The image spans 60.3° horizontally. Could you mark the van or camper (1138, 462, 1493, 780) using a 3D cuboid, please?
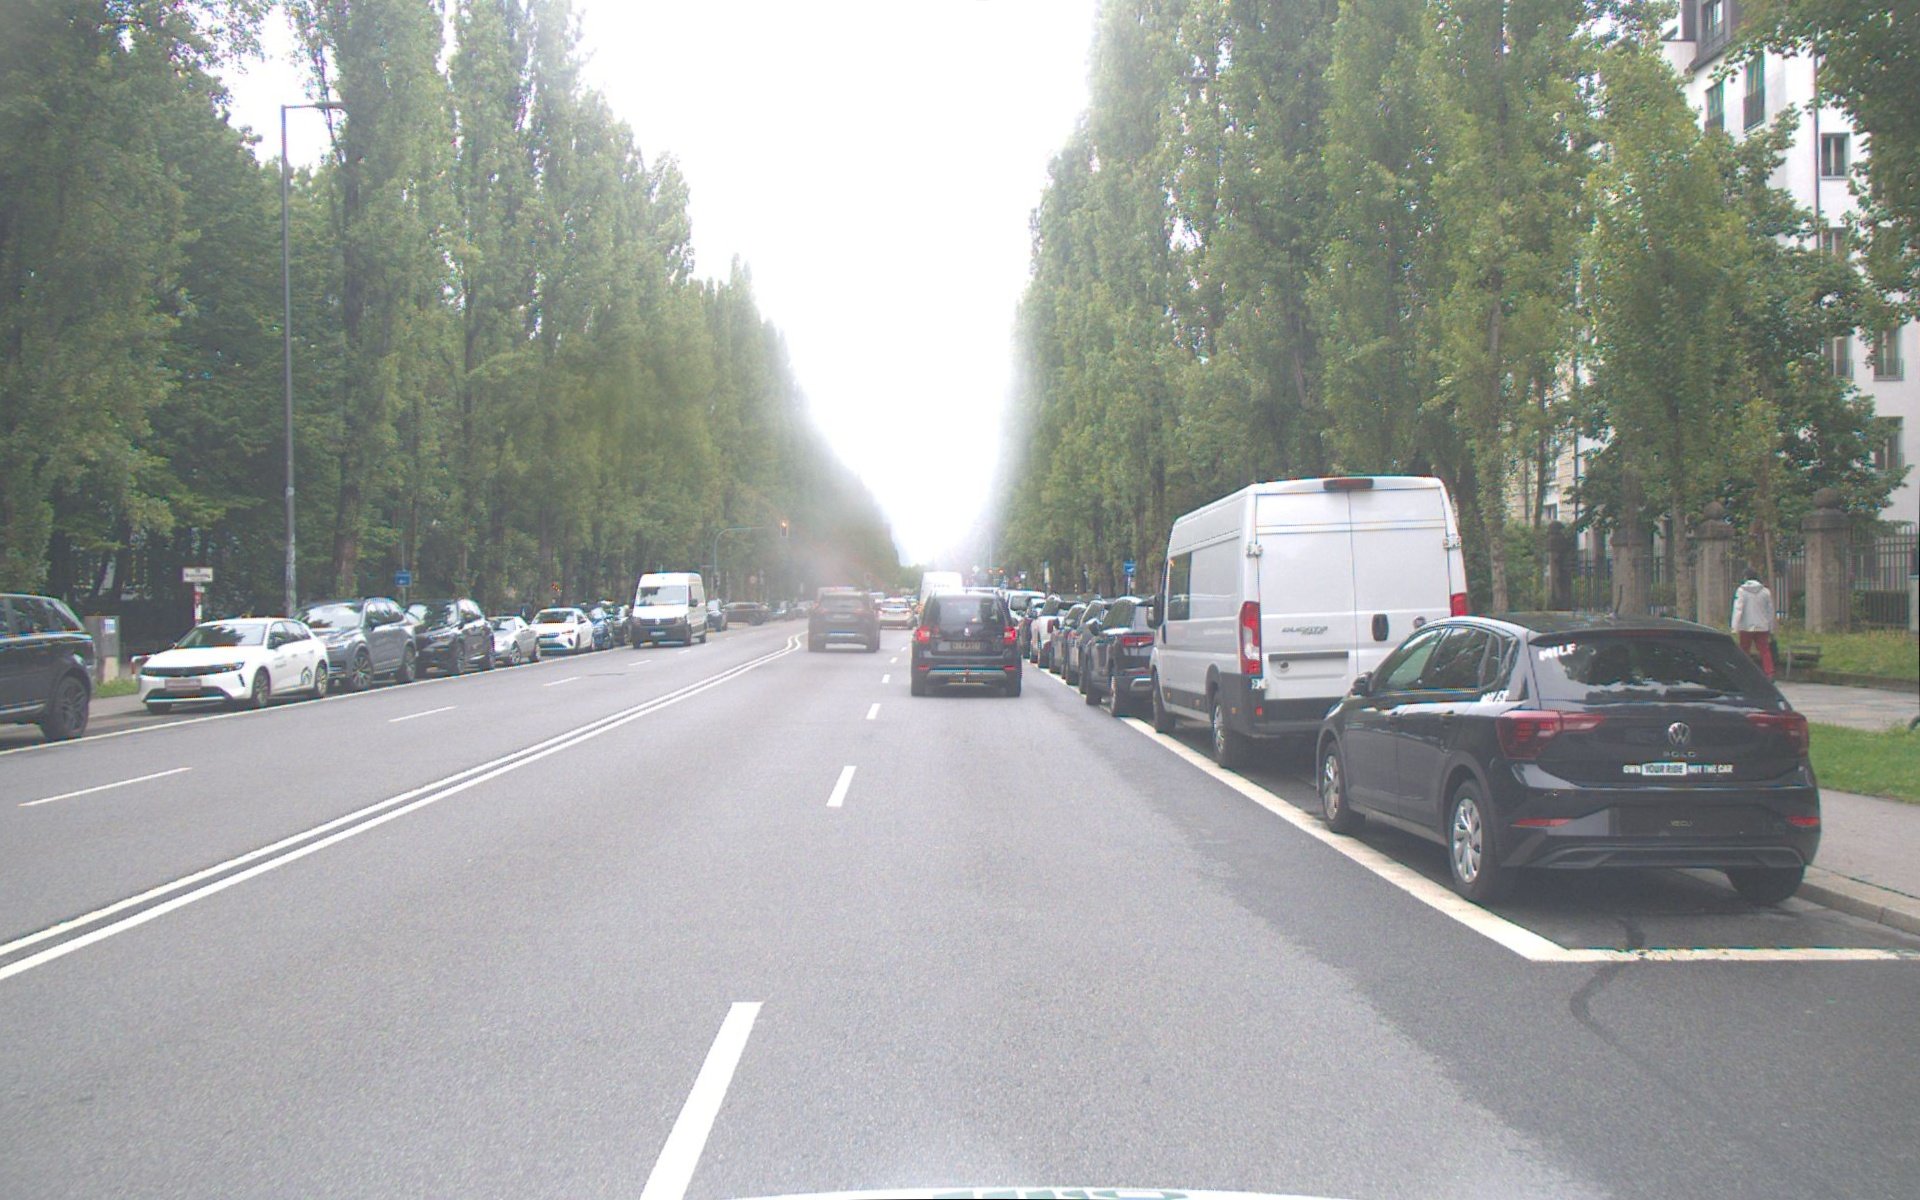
[{"bbox_3d":[3.266,0.156,16.792,2.095,2.584,6.416,-1,0,-1],"label":"van or camper"}]

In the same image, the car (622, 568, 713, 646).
[{"bbox_3d":[-10.351,0.216,59.062,2.183,2.526,6.756,-3,0,-2],"label":"car"}]

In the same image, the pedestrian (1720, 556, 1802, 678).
[{"bbox_3d":[12.116,0.252,25.045,0.779,1.799,0.895,-1,0,-2],"label":"pedestrian"}]

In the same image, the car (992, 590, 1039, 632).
[{"bbox_3d":[2.253,0.408,67.788,1.705,1.620,4.211,-1,1,-1],"label":"car"}]

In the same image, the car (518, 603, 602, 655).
[{"bbox_3d":[-12.777,0.910,53.074,1.735,1.477,4.231,-3,0,-2],"label":"car"}]

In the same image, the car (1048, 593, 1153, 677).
[{"bbox_3d":[2.766,0.655,33.412,1.668,1.546,4.294,-1,1,-1],"label":"car"}]

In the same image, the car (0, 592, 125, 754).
[{"bbox_3d":[-11.844,0.877,19.002,2.005,1.817,4.799,-3,0,0],"label":"car"}]

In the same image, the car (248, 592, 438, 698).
[{"bbox_3d":[-12.149,0.813,32.985,1.871,1.820,5.178,-3,0,-1],"label":"car"}]

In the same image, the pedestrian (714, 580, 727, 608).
[{"bbox_3d":[-13.914,-0.363,95.962,0.647,1.605,0.530,-1,0,-1],"label":"pedestrian"}]

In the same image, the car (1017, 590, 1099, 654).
[{"bbox_3d":[2.542,0.535,43.659,1.842,1.567,4.464,-1,1,-1],"label":"car"}]

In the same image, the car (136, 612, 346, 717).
[{"bbox_3d":[-11.898,1.015,27.682,1.670,1.484,4.271,-3,0,-1],"label":"car"}]

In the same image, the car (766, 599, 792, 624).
[{"bbox_3d":[-14.207,0.894,129.958,1.654,1.814,3.774,-1,0,-1],"label":"car"}]

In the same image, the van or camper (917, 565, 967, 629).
[{"bbox_3d":[-0.791,-0.129,70.275,1.936,2.593,4.023,-1,0,-3],"label":"van or camper"}]

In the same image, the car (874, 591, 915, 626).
[{"bbox_3d":[-3.178,0.394,80.614,1.953,1.588,3.999,-1,0,-2],"label":"car"}]

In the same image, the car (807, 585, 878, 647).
[{"bbox_3d":[-3.244,0.405,46.265,1.745,1.648,4.024,0,1,-1],"label":"car"}]

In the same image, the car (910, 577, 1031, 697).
[{"bbox_3d":[0.133,0.565,27.314,1.818,1.801,3.999,1,0,-1],"label":"car"}]

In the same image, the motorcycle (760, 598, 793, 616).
[{"bbox_3d":[-13.449,0.518,121.521,2.315,1.292,0.930,-1,0,-1],"label":"motorcycle"}]

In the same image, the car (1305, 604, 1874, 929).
[{"bbox_3d":[3.333,0.768,9.644,1.642,1.445,3.998,-1,0,-3],"label":"car"}]

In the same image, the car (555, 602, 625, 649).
[{"bbox_3d":[-12.768,0.858,57.267,1.675,1.476,3.584,-4,0,-2],"label":"car"}]

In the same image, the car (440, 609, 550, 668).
[{"bbox_3d":[-12.402,0.993,44.377,1.790,1.357,4.232,-3,0,-1],"label":"car"}]

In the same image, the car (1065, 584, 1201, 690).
[{"bbox_3d":[2.869,0.556,28.386,1.747,1.646,4.637,-1,1,-1],"label":"car"}]

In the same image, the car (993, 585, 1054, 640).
[{"bbox_3d":[2.278,0.436,60.414,1.814,1.914,4.166,-1,0,-3],"label":"car"}]

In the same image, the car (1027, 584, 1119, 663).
[{"bbox_3d":[2.550,0.490,38.339,1.707,1.705,4.579,-1,1,-1],"label":"car"}]

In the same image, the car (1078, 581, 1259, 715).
[{"bbox_3d":[2.815,0.594,23.270,1.749,1.677,4.415,-1,1,-3],"label":"car"}]

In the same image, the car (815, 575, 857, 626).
[{"bbox_3d":[-5.456,0.016,72.912,1.746,2.148,4.021,-1,0,-4],"label":"car"}]

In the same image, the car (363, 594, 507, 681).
[{"bbox_3d":[-12.182,0.808,38.706,1.902,1.798,4.893,-3,0,-2],"label":"car"}]

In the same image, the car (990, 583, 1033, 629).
[{"bbox_3d":[2.245,0.232,73.085,1.700,1.928,4.024,-1,0,-1],"label":"car"}]
